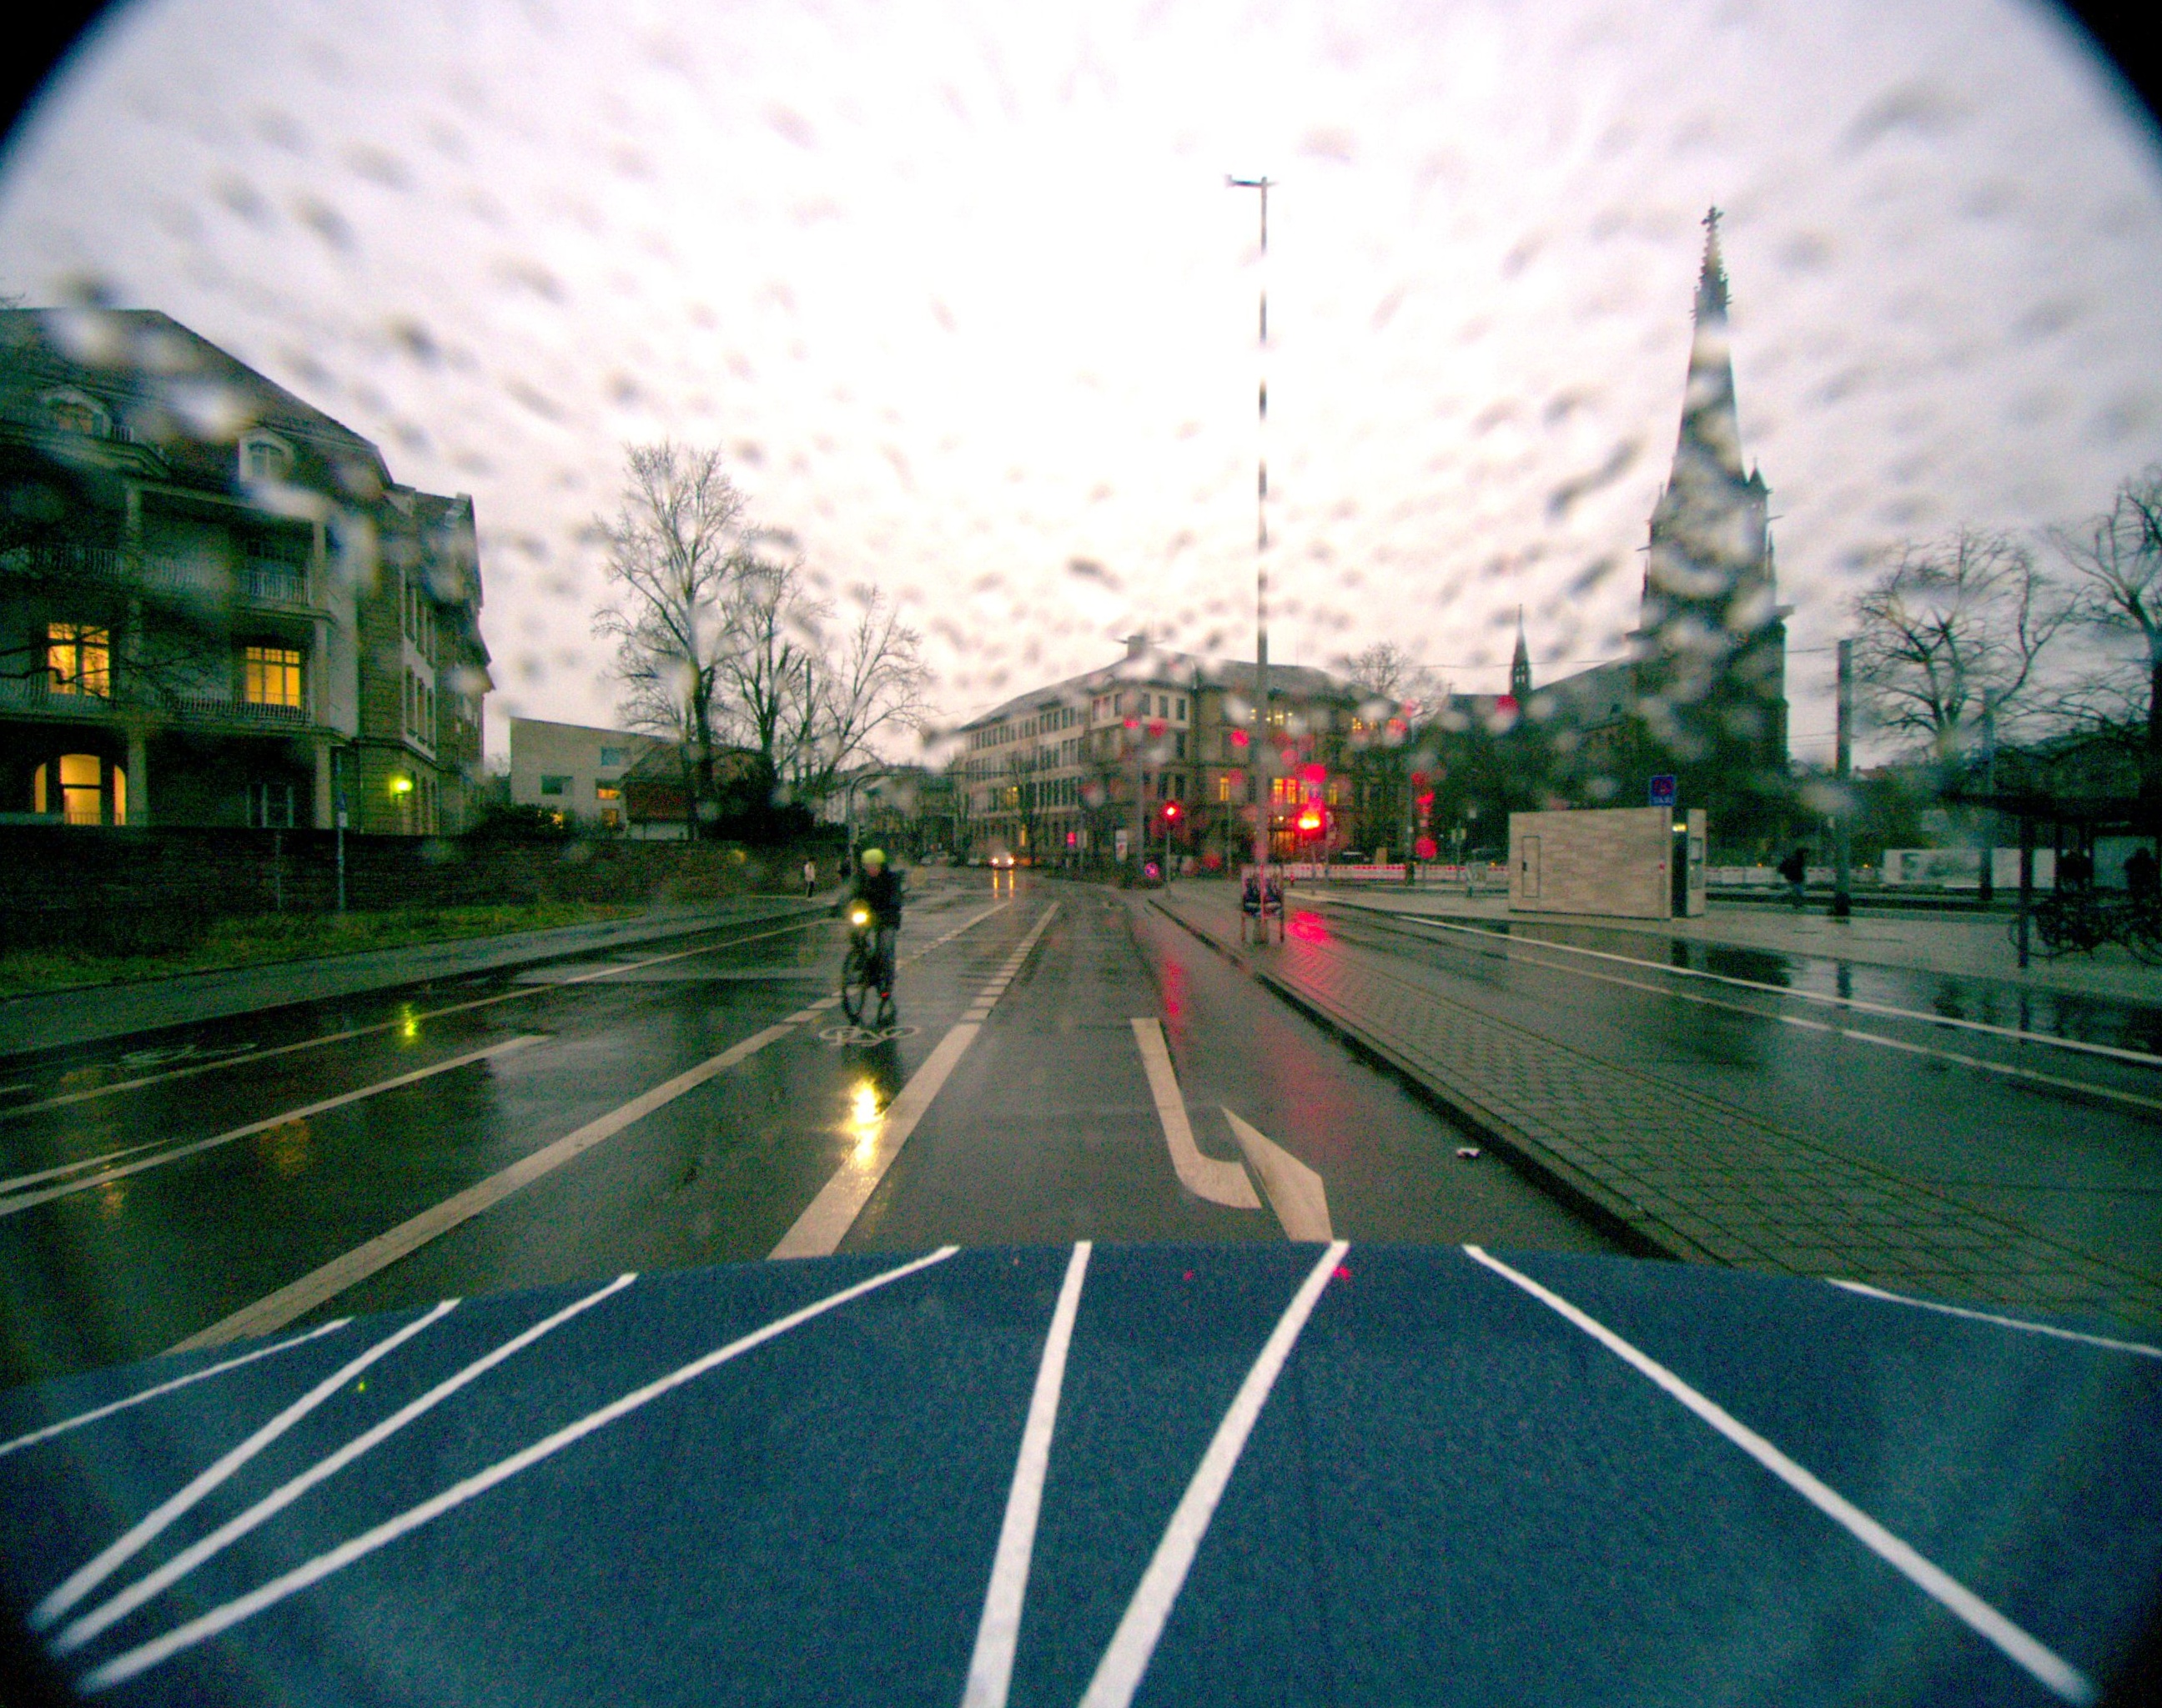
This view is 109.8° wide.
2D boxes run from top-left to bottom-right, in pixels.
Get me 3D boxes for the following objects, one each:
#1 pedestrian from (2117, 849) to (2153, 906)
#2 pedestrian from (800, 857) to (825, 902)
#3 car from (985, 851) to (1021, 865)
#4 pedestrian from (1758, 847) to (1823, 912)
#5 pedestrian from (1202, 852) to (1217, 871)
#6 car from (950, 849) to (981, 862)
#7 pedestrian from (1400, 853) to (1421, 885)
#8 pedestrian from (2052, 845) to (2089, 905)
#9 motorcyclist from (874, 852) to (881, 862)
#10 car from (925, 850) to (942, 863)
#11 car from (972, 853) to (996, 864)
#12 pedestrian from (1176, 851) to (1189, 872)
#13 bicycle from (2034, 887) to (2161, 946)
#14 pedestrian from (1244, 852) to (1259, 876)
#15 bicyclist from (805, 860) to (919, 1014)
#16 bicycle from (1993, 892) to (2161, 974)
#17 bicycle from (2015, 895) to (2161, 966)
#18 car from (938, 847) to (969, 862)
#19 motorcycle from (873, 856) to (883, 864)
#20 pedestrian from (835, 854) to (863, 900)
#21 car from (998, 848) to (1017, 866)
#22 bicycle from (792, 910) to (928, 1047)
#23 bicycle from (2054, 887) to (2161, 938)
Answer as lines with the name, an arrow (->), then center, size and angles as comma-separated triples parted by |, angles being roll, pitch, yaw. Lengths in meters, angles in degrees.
pedestrian -> 31.045, 0.694, 22.389 | 0.541, 1.642, 0.562 | -3, 2, -41
pedestrian -> -10.533, 0.990, 29.803 | 0.799, 1.713, 0.673 | 1, 1, -7
car -> -9.283, 0.482, 90.538 | 1.797, 1.541, 4.007 | -1, 1, 45
pedestrian -> 19.810, 0.684, 21.233 | 1.013, 1.754, 1.065 | 1, 0, -30
pedestrian -> 11.559, 0.638, 68.382 | 0.829, 1.714, 0.926 | 0, 0, -34
car -> -15.095, 0.200, 99.408 | 1.797, 1.541, 4.007 | -2, 1, 28
pedestrian -> 17.690, 0.823, 40.800 | 0.771, 1.651, 1.210 | -1, 1, 36
pedestrian -> 30.233, 0.644, 23.218 | 0.673, 1.785, 0.626 | -3, 2, -41
motorcyclist -> -28.866, 0.400, 107.806 | 0.702, 1.375, 0.864 | 0, 0, -34
car -> -20.739, 0.371, 106.848 | 2.000, 1.660, 3.997 | -2, 1, -7
car -> -12.138, 0.575, 95.310 | 1.706, 1.298, 3.647 | -2, 1, 16
pedestrian -> 8.938, 0.639, 67.203 | 0.675, 1.806, 0.895 | 0, 1, -40
bicycle -> 19.689, 1.170, 14.430 | 0.475, 0.980, 1.921 | -2, 2, -30
pedestrian -> 13.774, 0.778, 61.467 | 0.675, 1.890, 0.971 | 0, 2, -42
bicyclist -> -2.242, 0.808, 7.920 | 0.785, 1.444, 1.134 | -2, 1, 1
bicycle -> 15.496, 1.181, 11.614 | 0.475, 1.064, 1.921 | -2, 2, -30
bicycle -> 16.581, 1.215, 12.200 | 0.475, 0.980, 1.921 | -2, 2, -30
car -> -16.999, 0.076, 101.474 | 2.043, 1.889, 4.007 | -2, 1, 28
motorcycle -> -28.855, 0.871, 107.774 | 0.714, 1.048, 2.162 | 0, 0, -34
pedestrian -> -9.496, 0.935, 31.146 | 1.000, 1.890, 0.673 | 1, 1, -8
car -> -7.945, 0.296, 82.800 | 1.883, 1.835, 3.998 | -2, 1, -4
bicycle -> -2.227, 1.216, 7.951 | 0.785, 1.069, 1.957 | -2, 1, 1
bicycle -> 20.845, 1.162, 15.020 | 0.475, 0.905, 1.921 | -2, 2, -30
